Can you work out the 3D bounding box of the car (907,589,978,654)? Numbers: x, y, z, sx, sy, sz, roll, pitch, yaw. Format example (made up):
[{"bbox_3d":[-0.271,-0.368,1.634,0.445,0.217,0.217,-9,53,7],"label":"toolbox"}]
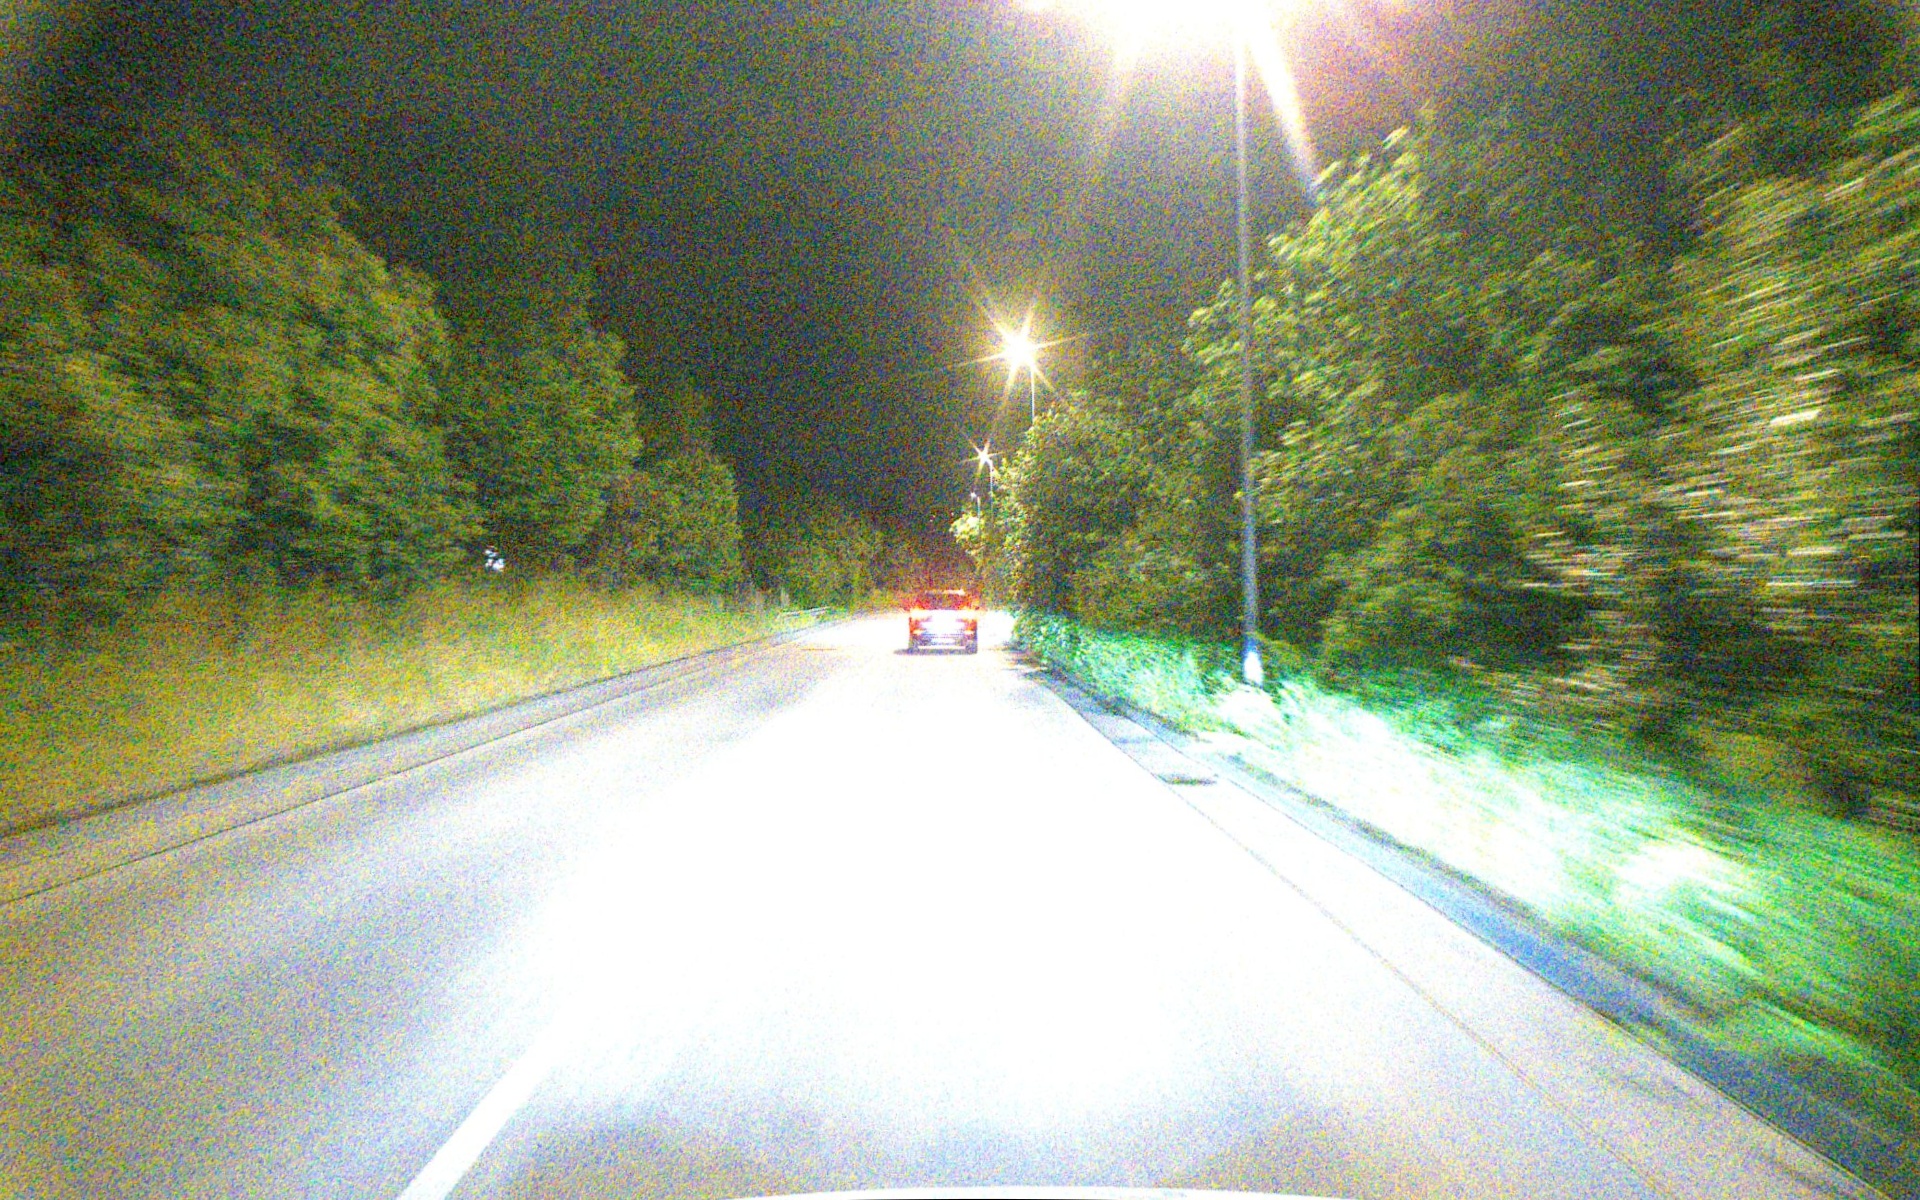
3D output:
[{"bbox_3d":[-0.463,0.523,43.273,1.778,1.601,3.943,-1,0,-1],"label":"car"}]
